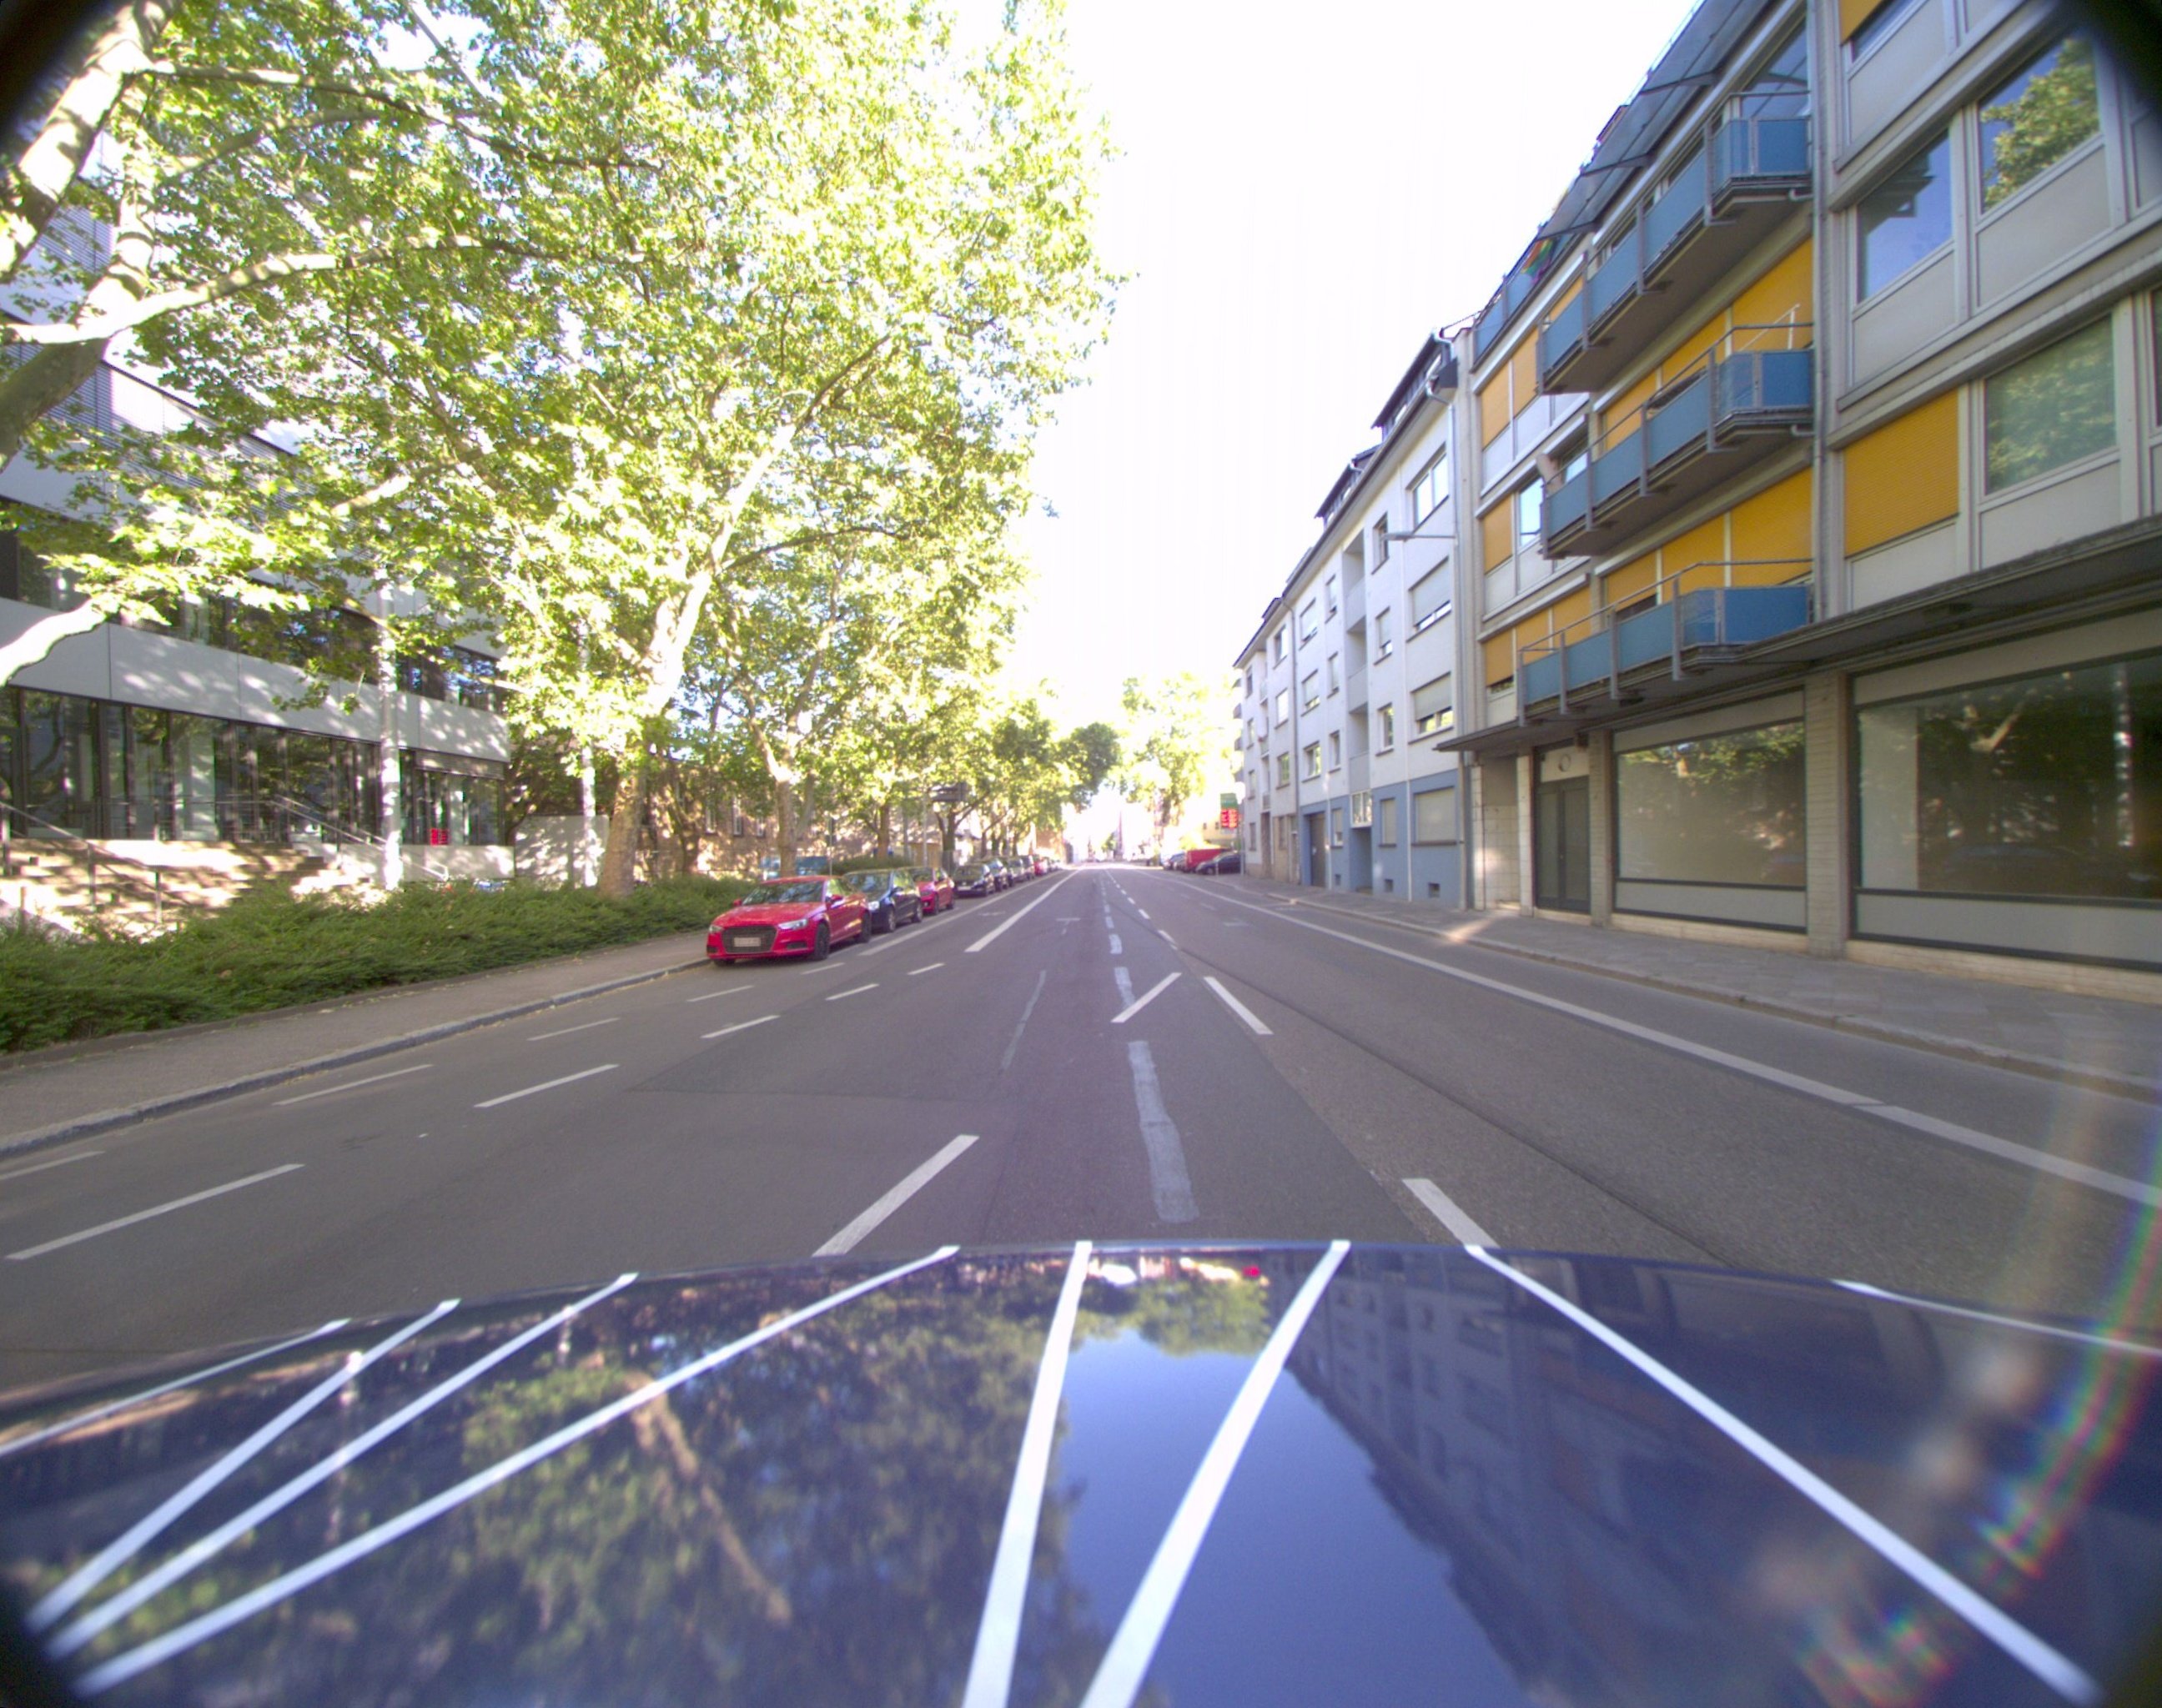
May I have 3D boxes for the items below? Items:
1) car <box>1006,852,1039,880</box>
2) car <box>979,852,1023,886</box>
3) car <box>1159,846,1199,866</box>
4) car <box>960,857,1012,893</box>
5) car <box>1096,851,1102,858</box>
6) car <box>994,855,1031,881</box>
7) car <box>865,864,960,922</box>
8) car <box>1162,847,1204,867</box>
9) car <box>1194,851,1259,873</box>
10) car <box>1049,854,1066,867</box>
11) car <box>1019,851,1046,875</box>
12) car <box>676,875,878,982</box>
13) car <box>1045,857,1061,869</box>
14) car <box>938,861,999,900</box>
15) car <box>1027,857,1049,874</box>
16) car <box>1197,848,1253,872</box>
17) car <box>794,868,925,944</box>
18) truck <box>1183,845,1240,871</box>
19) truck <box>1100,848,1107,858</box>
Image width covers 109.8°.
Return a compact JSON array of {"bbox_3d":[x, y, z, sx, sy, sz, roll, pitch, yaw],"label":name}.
[{"bbox_3d":[-4.239,0.833,55.576,1.998,1.838,3.999,-2,1,1],"label":"car"},{"bbox_3d":[-4.610,0.828,44.517,1.998,1.777,4.572,-2,1,1],"label":"car"},{"bbox_3d":[10.946,0.204,85.314,4.236,2.025,2.000,-2,1,3],"label":"car"},{"bbox_3d":[-4.687,0.996,38.127,1.998,1.592,4.142,-2,1,1],"label":"car"},{"bbox_3d":[6.157,0.154,259.455,1.998,2.002,3.999,-2,1,1],"label":"car"},{"bbox_3d":[-4.527,0.903,50.937,1.998,1.557,4.142,-2,1,1],"label":"car"},{"bbox_3d":[-5.130,1.141,23.675,1.998,1.490,3.828,-2,1,1],"label":"car"},{"bbox_3d":[10.860,0.270,80.914,4.236,1.945,2.000,-2,1,3],"label":"car"},{"bbox_3d":[10.453,0.562,54.784,4.324,1.398,1.658,-2,1,0],"label":"car"},{"bbox_3d":[-3.189,0.889,103.008,1.998,1.682,3.999,-2,1,1],"label":"car"},{"bbox_3d":[-4.224,0.763,66.409,1.998,1.960,3.999,-2,1,1],"label":"car"},{"bbox_3d":[-5.189,1.190,13.638,1.907,1.417,3.999,-2,1,1],"label":"car"},{"bbox_3d":[-3.350,1.054,92.738,1.693,1.364,3.999,-2,1,1],"label":"car"},{"bbox_3d":[-4.840,1.120,33.179,1.998,1.447,3.589,-2,1,1],"label":"car"},{"bbox_3d":[-4.039,1.068,71.997,1.824,1.466,3.999,-2,1,1],"label":"car"},{"bbox_3d":[10.799,0.440,57.115,3.810,1.563,1.658,-2,1,0],"label":"car"},{"bbox_3d":[-5.175,1.162,18.289,1.998,1.452,3.644,-2,1,1],"label":"car"},{"bbox_3d":[10.284,0.309,60.211,4.092,1.913,2.000,-2,1,0],"label":"truck"},{"bbox_3d":[6.870,-0.329,233.823,1.998,2.653,5.314,-2,1,0],"label":"truck"}]
